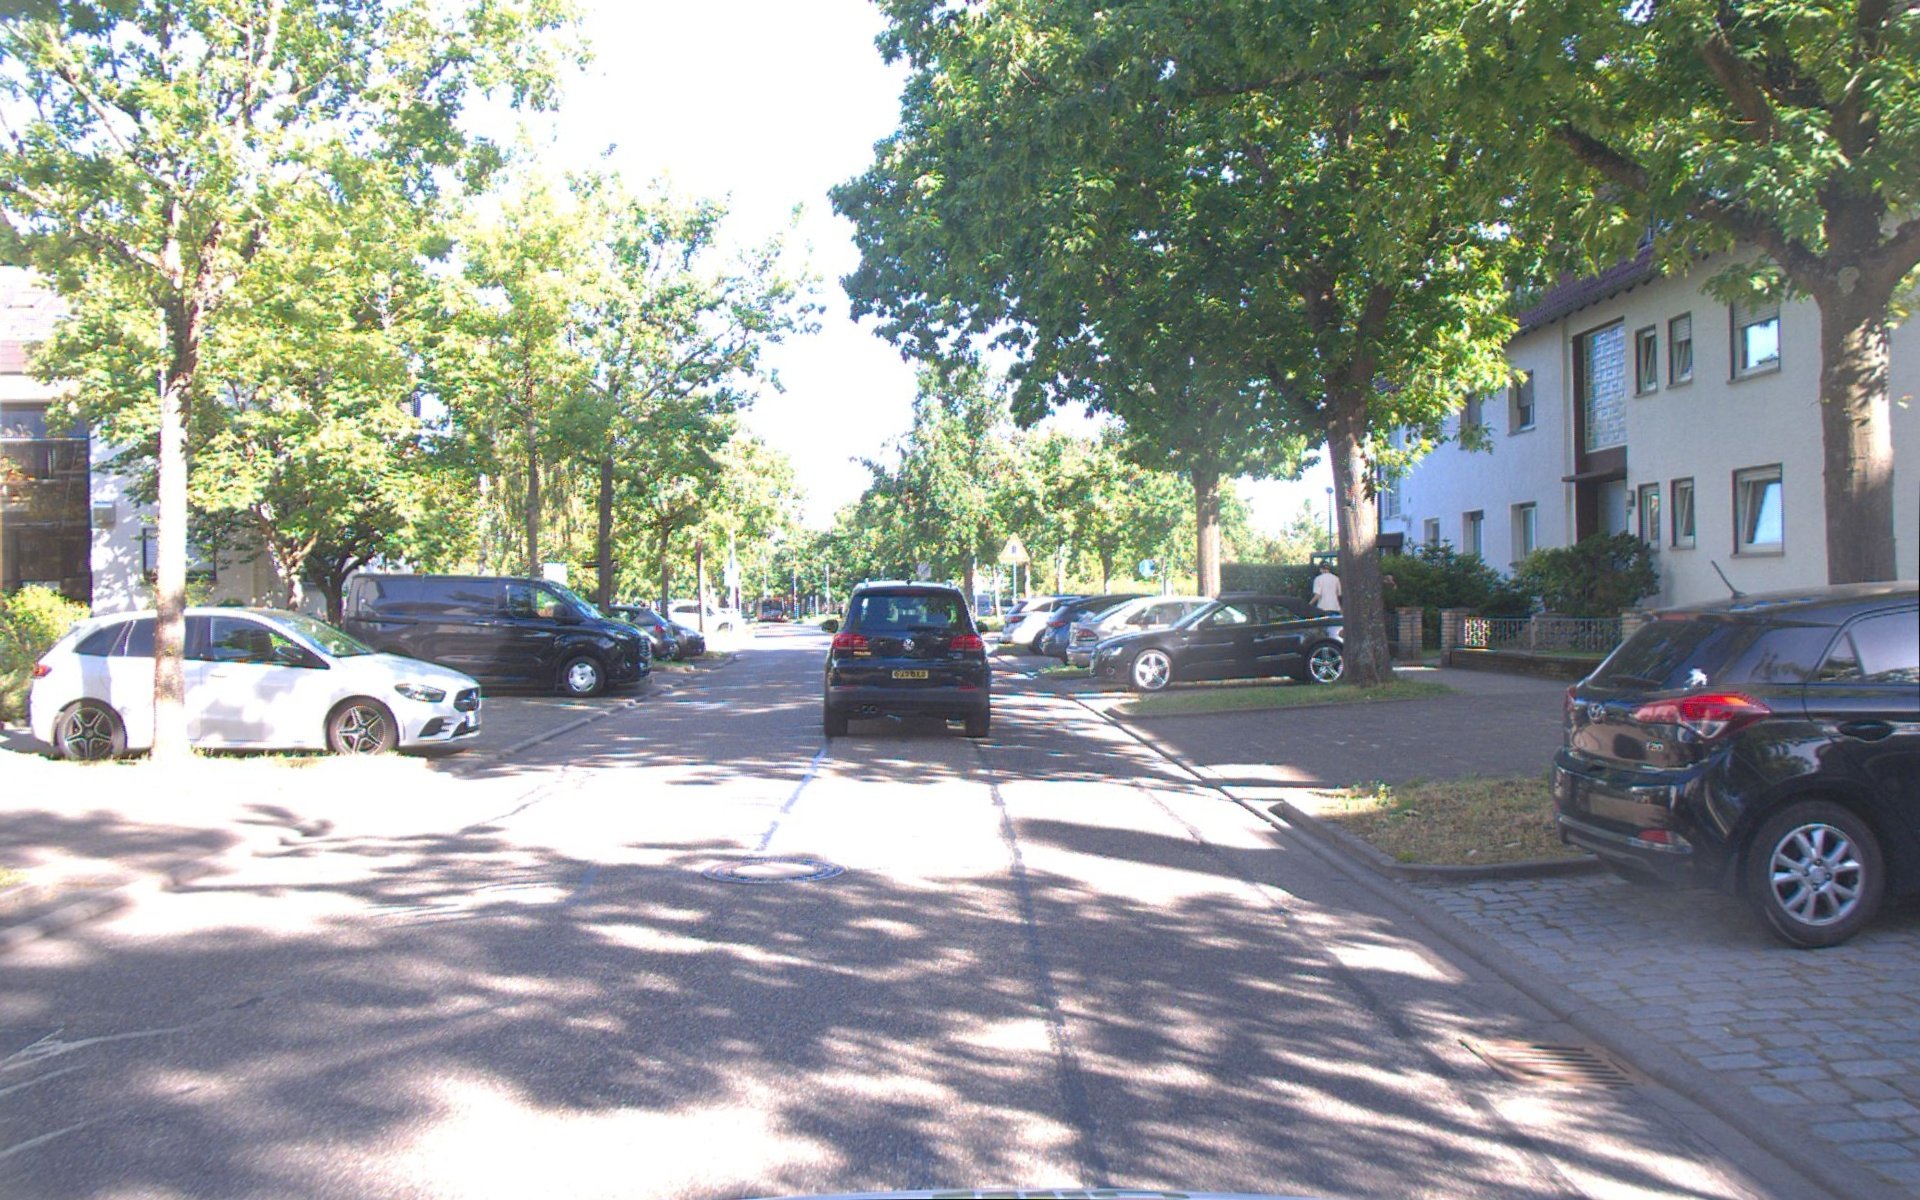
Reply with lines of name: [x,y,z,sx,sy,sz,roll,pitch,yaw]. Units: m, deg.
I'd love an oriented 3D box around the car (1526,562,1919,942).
car: [4.840,0.603,7.702,3.803,1.542,1.660,-1,-1,-1]

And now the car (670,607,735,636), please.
car: [-16.467,1.384,105.805,3.939,1.676,1.809,-2,0,-6]

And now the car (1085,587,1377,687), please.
car: [4.221,0.571,26.199,4.258,1.386,1.873,-2,-1,-2]

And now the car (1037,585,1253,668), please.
car: [3.744,0.526,33.958,4.190,1.529,1.796,-2,0,-2]

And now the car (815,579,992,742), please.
car: [-0.544,0.620,19.015,1.800,1.665,3.958,0,0,1]

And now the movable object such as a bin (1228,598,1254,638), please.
movable object such as a bin: [7.611,0.475,44.878,0.523,1.063,0.699,-1,0,-4]

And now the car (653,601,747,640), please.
car: [-11.943,0.934,76.156,4.160,1.651,1.894,-1,-1,-6]

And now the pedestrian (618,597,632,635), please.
pedestrian: [-14.089,0.666,69.653,0.432,1.584,0.800,-1,0,-3]

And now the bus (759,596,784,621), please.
bus: [-23.407,1.092,205.298,2.872,3.056,5.730,-1,-1,-6]

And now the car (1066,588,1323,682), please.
car: [4.050,0.590,29.003,4.190,1.439,1.796,-2,0,-2]

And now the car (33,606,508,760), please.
car: [-7.057,0.829,17.246,4.189,1.504,1.768,0,0,-2]

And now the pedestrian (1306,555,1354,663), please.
pedestrian: [6.647,0.167,29.751,0.595,1.906,0.924,-1,-1,0]

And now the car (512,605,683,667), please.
car: [-8.635,0.846,39.645,3.743,1.444,1.771,0,0,-4]

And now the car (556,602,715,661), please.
car: [-8.328,0.792,42.650,3.779,1.484,1.713,0,0,-2]

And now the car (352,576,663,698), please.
car: [-7.472,0.580,27.721,4.684,1.950,2.017,0,0,-4]

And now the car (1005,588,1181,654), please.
car: [3.381,0.517,42.698,4.339,1.517,1.796,-2,0,-2]

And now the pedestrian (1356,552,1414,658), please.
pedestrian: [7.650,0.098,29.822,0.818,1.860,0.710,-1,-1,0]
